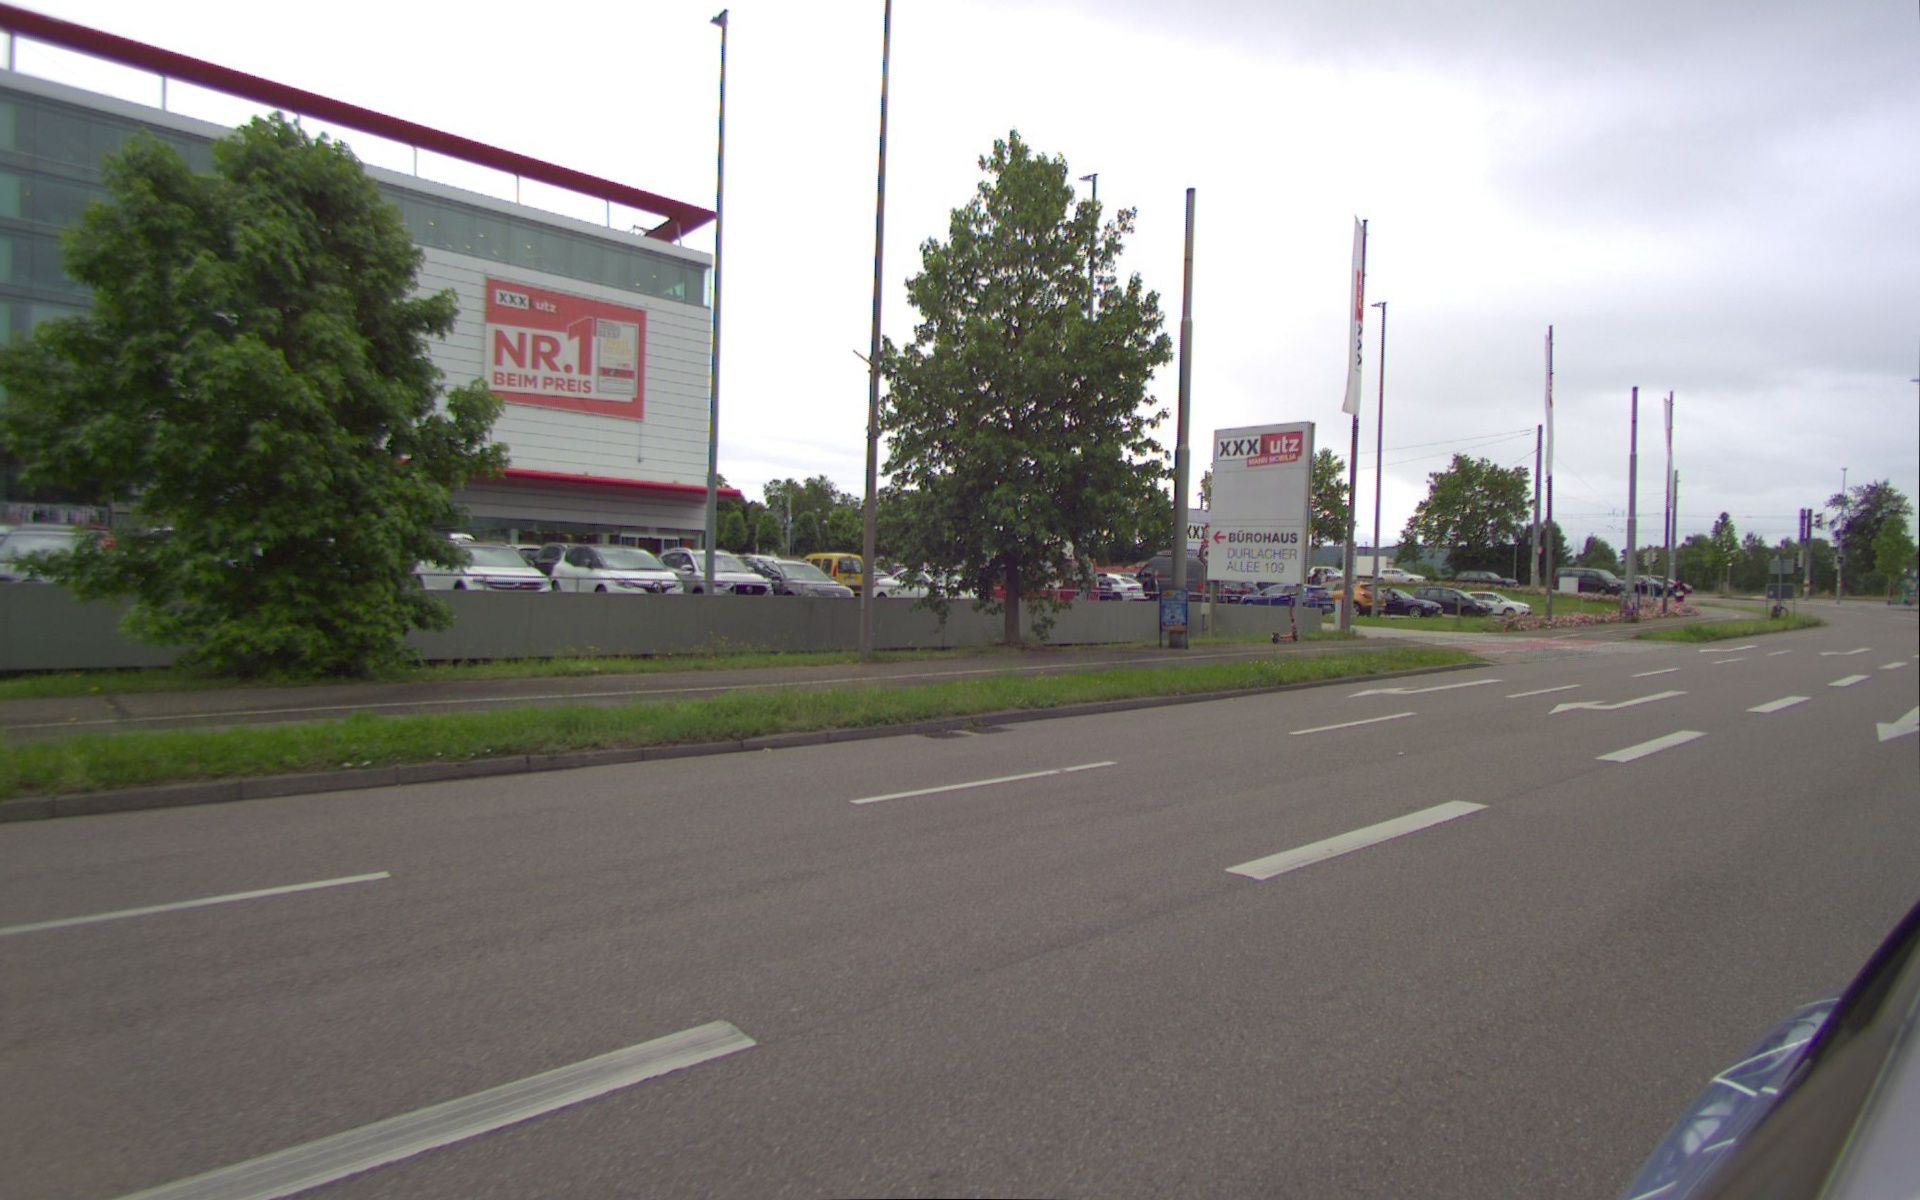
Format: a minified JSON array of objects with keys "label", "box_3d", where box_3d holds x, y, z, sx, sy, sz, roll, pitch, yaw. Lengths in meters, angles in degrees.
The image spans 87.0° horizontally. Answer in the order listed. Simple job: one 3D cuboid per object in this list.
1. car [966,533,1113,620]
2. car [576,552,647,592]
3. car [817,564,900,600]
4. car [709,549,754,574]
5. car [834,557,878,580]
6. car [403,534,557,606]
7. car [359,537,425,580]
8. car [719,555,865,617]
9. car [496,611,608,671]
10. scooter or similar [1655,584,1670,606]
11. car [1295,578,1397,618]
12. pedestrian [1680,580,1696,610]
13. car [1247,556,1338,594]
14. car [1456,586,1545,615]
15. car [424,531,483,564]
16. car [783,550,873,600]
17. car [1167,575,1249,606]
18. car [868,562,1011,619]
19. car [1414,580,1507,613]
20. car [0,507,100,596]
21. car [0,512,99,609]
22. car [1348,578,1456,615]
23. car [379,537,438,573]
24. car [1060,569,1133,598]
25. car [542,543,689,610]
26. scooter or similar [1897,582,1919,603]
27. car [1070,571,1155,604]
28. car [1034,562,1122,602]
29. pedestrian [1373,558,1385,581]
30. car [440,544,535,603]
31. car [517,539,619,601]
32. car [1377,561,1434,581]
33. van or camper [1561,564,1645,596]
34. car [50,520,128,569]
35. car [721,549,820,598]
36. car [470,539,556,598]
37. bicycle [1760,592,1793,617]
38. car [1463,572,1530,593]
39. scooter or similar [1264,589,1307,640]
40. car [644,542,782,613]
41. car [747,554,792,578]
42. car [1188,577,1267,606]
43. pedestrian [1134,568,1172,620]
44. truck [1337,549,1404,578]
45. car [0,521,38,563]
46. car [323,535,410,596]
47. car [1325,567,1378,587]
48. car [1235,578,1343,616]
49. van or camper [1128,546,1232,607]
[{"label":"car","box_3d":[2.539,-0.759,33.428,2.131,2.612,4.735,3,0,-38]},{"label":"car","box_3d":[-17.042,-1.356,49.431,1.810,1.863,3.991,0,1,-43]},{"label":"car","box_3d":[-4.646,-0.827,46.015,1.707,1.487,4.250,3,0,-38]},{"label":"car","box_3d":[-16.030,-2.699,71.055,1.621,1.579,3.614,2,2,-39]},{"label":"car","box_3d":[-8.067,-2.415,78.005,1.621,1.579,3.614,2,2,-39]},{"label":"car","box_3d":[-10.395,-0.641,21.770,1.734,1.367,4.057,3,0,-44]},{"label":"car","box_3d":[-24.081,-1.749,42.861,1.847,1.631,3.998,3,0,-37]},{"label":"car","box_3d":[-4.521,-0.392,26.780,1.833,1.437,4.477,3,0,-38]},{"label":"car","box_3d":[-11.070,1.048,27.294,1.732,1.367,4.064,0,1,-38]},{"label":"scooter or similar","box_3d":[42.258,-0.311,60.883,0.341,1.248,1.161,0,1,11]},{"label":"car","box_3d":[17.442,-0.134,45.869,1.781,1.663,4.000,0,2,-36]},{"label":"pedestrian","box_3d":[40.753,-0.283,56.665,0.713,1.616,0.774,2,4,36]},{"label":"car","box_3d":[20.223,-1.559,61.766,2.082,2.191,5.053,0,3,-35]},{"label":"car","box_3d":[30.764,0.031,57.687,1.843,1.464,4.114,3,0,-41]},{"label":"car","box_3d":[-26.151,-2.681,52.203,1.798,1.574,3.800,3,0,-41]},{"label":"car","box_3d":[-5.118,-0.958,38.942,1.702,1.790,3.746,3,0,-39]},{"label":"car","box_3d":[13.442,-0.536,55.034,1.964,1.588,3.996,0,1,-39]},{"label":"car","box_3d":[-0.682,-0.308,29.721,1.925,1.479,4.385,3,0,-38]},{"label":"car","box_3d":[26.718,-0.198,54.143,1.740,1.603,4.096,2,0,-43]},{"label":"car","box_3d":[-22.605,-1.149,25.062,1.965,2.039,4.183,0,1,-41]},{"label":"car","box_3d":[-15.466,-0.656,16.792,1.733,1.417,4.061,3,0,-41]},{"label":"car","box_3d":[21.260,-0.212,48.760,4.515,1.602,1.747,2,3,37]},{"label":"car","box_3d":[-26.894,-2.177,49.294,1.798,1.574,3.801,3,0,-40]},{"label":"car","box_3d":[7.719,-0.950,57.503,1.821,1.575,3.996,0,1,-39]},{"label":"car","box_3d":[-8.071,-0.553,23.519,1.802,1.367,4.061,3,0,-41]},{"label":"scooter or similar","box_3d":[60.532,-0.488,64.505,0.314,1.271,1.117,-1,3,-27]},{"label":"car","box_3d":[7.514,-0.653,50.118,1.830,1.571,3.996,-1,2,-39]},{"label":"car","box_3d":[5.617,-0.874,48.469,1.800,1.674,3.898,1,2,-42]},{"label":"pedestrian","box_3d":[33.969,-2.494,81.989,0.621,1.804,0.547,3,-1,-12]},{"label":"car","box_3d":[-14.558,-0.812,31.090,1.799,1.684,4.184,0,1,-37]},{"label":"car","box_3d":[-12.592,-0.944,32.379,1.853,1.766,4.325,2,0,-37]},{"label":"car","box_3d":[37.953,-2.508,86.330,1.703,1.558,4.041,3,1,-40]},{"label":"van or camper","box_3d":[46.531,-1.505,73.358,2.080,2.037,4.764,-1,4,-25]},{"label":"car","box_3d":[-31.332,-1.941,36.515,1.709,1.574,3.805,3,0,-35]},{"label":"car","box_3d":[-7.019,-0.974,37.236,1.845,1.616,3.997,3,0,-39]},{"label":"car","box_3d":[-16.404,-1.155,37.066,1.941,2.038,3.997,0,2,-39]},{"label":"bicycle","box_3d":[36.029,0.182,44.666,1.659,1.061,0.665,-1,2,-35]},{"label":"car","box_3d":[42.699,-1.382,80.605,1.931,1.482,4.324,0,3,-35]},{"label":"scooter or similar","box_3d":[7.906,0.356,24.573,1.226,1.206,0.371,1,1,-41]},{"label":"car","box_3d":[-6.191,-0.561,25.081,1.731,1.560,4.064,3,0,-38]},{"label":"car","box_3d":[-13.637,-2.446,72.284,1.621,1.579,3.614,2,2,-39]},{"label":"car","box_3d":[14.993,-0.515,56.872,1.910,1.575,4.001,0,1,-34]},{"label":"pedestrian","box_3d":[6.757,-0.217,35.412,0.870,1.741,0.941,3,-1,-42]},{"label":"truck","box_3d":[47.192,-4.223,116.516,6.527,2.959,2.782,4,1,45]},{"label":"car","box_3d":[-38.064,-2.315,40.324,1.711,1.574,3.801,3,0,-40]},{"label":"car","box_3d":[-19.328,-1.104,32.867,1.806,1.743,3.997,3,-1,-39]},{"label":"car","box_3d":[34.907,-2.052,90.225,1.717,1.622,4.067,3,0,-43]},{"label":"car","box_3d":[13.834,-0.159,42.681,1.782,1.473,3.997,-1,2,-39]},{"label":"van or camper","box_3d":[11.406,-1.254,52.878,1.952,3.020,5.401,0,2,-34]}]
